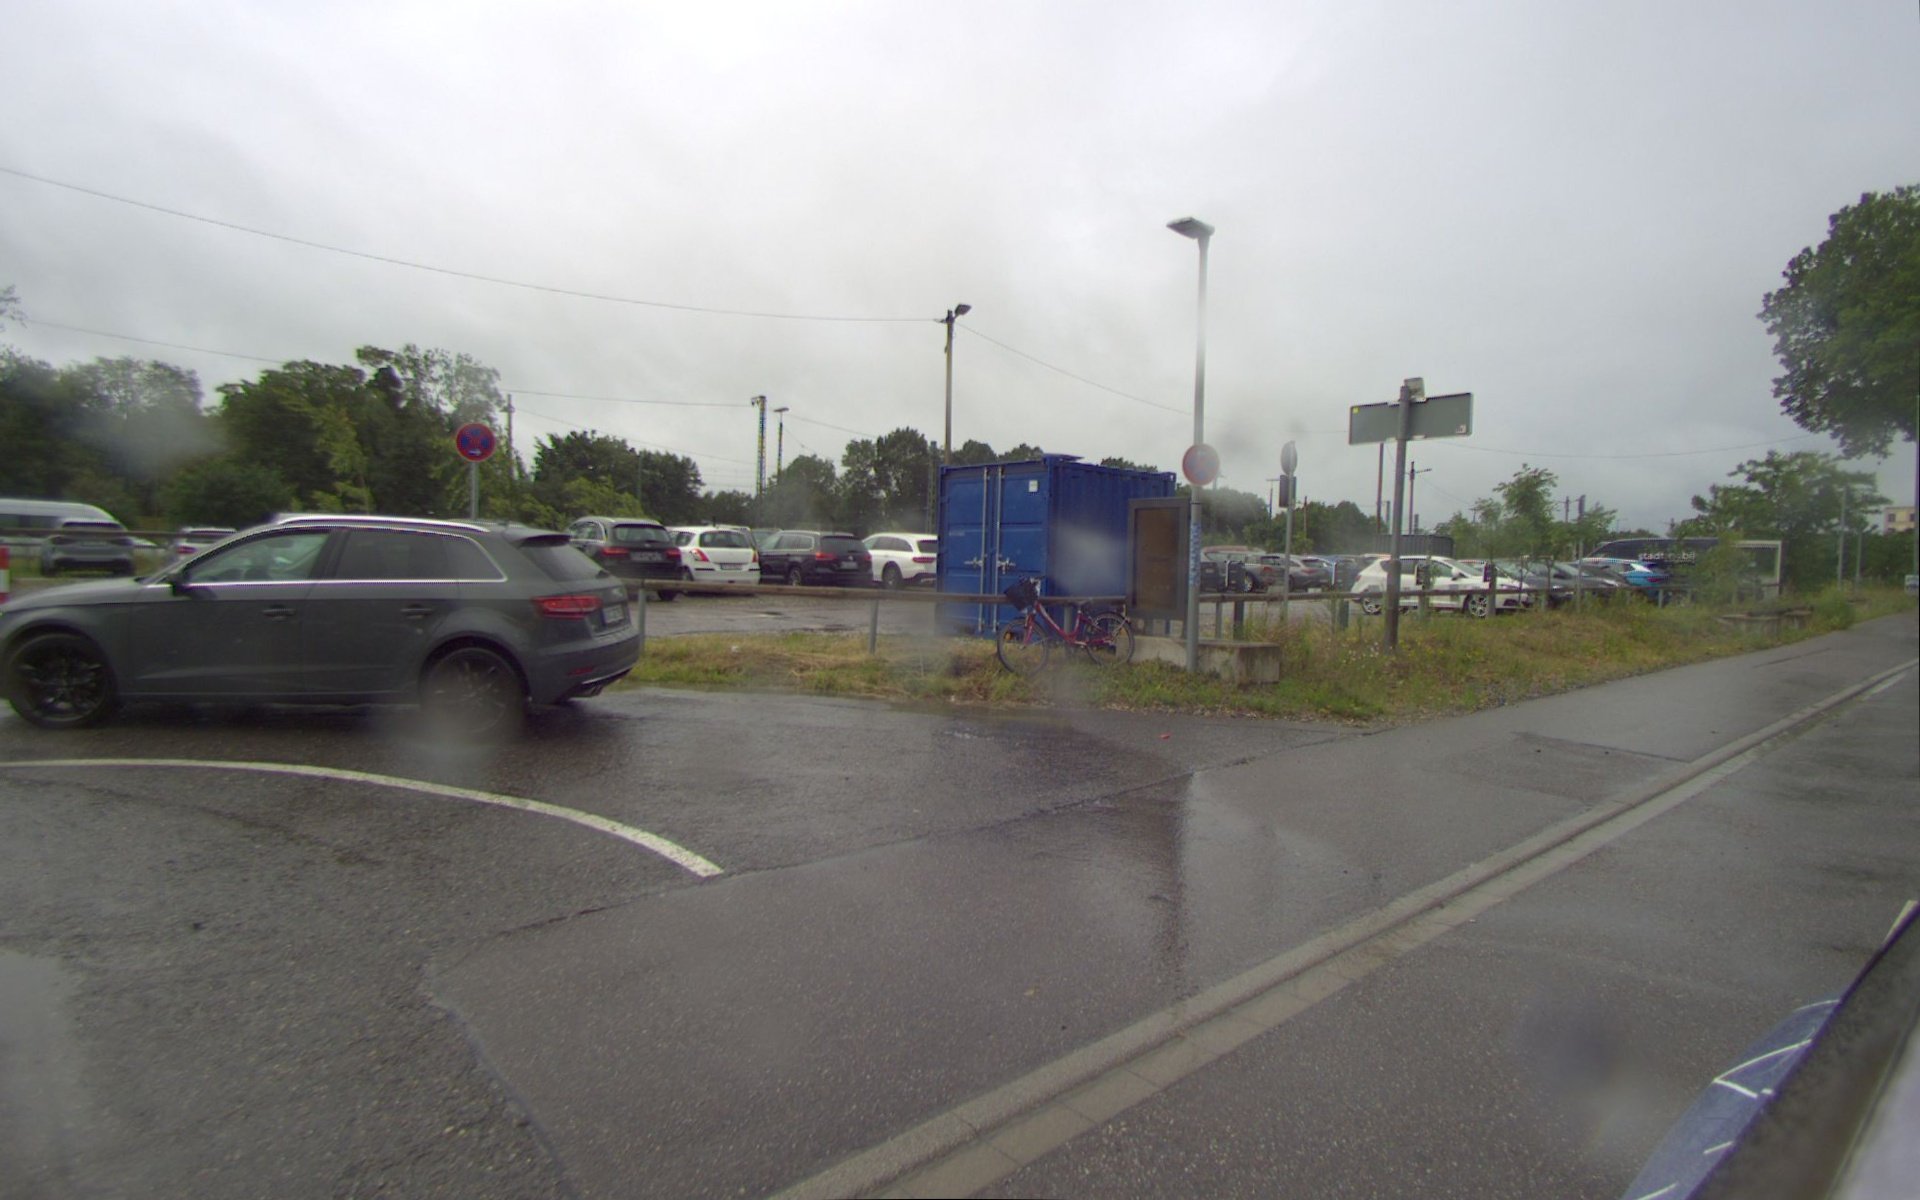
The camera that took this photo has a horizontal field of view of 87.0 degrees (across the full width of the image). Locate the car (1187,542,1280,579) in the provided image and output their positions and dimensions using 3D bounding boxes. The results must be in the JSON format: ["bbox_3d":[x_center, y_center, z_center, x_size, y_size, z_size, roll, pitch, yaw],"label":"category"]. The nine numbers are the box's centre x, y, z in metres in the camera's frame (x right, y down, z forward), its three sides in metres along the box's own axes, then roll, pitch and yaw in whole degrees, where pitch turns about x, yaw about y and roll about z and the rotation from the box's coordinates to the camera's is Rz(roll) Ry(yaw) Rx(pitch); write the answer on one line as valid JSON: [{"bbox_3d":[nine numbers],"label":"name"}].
[{"bbox_3d":[13.039,-1.917,48.366,1.733,1.660,3.998,-1,3,-39],"label":"car"}]

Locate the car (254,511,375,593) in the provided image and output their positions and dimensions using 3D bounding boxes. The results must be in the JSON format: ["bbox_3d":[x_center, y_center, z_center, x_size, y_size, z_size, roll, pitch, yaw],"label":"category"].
[{"bbox_3d":[-11.436,-0.896,17.831,1.617,1.235,3.903,-1,5,-35],"label":"car"}]

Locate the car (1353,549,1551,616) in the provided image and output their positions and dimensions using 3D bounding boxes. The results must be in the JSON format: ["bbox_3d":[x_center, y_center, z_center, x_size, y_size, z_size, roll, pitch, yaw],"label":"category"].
[{"bbox_3d":[11.495,-0.472,23.801,1.874,1.410,3.776,-2,4,-43],"label":"car"}]

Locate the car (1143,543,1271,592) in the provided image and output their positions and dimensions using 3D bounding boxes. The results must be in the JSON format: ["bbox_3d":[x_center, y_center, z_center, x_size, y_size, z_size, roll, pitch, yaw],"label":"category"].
[{"bbox_3d":[8.524,-1.166,35.184,1.853,1.444,3.965,-2,6,-38],"label":"car"}]

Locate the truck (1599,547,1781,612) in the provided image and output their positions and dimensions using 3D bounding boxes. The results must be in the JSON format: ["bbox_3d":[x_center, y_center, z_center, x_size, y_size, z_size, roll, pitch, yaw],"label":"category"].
[{"bbox_3d":[28.064,-0.855,39.101,2.038,2.351,5.341,-1,3,-40],"label":"truck"}]

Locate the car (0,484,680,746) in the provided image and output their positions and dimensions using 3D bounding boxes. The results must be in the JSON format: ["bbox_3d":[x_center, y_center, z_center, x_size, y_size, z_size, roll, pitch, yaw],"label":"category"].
[{"bbox_3d":[-4.363,0.041,7.402,4.143,1.473,1.904,3,4,-5],"label":"car"}]

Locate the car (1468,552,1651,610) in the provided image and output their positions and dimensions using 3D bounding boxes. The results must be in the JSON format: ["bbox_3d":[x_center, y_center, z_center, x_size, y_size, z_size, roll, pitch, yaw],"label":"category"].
[{"bbox_3d":[16.097,-0.572,27.302,1.750,1.440,3.901,-2,3,-42],"label":"car"}]

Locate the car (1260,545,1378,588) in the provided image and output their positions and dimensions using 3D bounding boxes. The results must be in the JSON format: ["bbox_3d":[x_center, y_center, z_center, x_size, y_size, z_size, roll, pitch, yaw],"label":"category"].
[{"bbox_3d":[14.485,-1.392,40.984,1.891,1.507,4.078,-2,6,-38],"label":"car"}]

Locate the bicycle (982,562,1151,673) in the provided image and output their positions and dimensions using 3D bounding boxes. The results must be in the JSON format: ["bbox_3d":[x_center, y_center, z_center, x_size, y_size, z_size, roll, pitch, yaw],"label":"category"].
[{"bbox_3d":[1.118,0.180,10.615,1.667,1.097,0.510,1,3,-20],"label":"bicycle"}]

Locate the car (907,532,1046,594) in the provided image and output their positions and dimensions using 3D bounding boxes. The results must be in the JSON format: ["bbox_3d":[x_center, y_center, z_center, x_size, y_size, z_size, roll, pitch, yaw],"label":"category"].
[{"bbox_3d":[0.389,-1.082,28.204,1.746,1.507,3.965,-2,5,-38],"label":"car"}]

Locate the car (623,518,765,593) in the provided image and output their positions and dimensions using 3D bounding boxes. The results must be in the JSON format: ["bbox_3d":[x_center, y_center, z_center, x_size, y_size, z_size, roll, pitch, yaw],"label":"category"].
[{"bbox_3d":[-6.226,-1.083,23.394,1.746,1.507,3.965,-2,5,-38],"label":"car"}]

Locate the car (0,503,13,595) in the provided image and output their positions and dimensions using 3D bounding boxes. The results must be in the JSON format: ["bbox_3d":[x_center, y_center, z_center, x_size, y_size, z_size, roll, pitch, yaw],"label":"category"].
[{"bbox_3d":[-14.967,-0.768,14.434,1.944,1.235,4.598,-2,6,-41],"label":"car"}]

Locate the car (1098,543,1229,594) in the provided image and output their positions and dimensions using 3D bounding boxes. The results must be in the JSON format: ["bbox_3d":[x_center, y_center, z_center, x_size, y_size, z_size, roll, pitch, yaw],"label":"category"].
[{"bbox_3d":[6.667,-1.093,33.433,1.853,1.444,3.965,-2,6,-38],"label":"car"}]

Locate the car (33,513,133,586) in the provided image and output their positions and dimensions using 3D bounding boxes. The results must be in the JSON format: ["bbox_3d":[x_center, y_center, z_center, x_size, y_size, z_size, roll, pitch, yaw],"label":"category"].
[{"bbox_3d":[-24.389,-1.428,28.100,1.967,1.852,3.993,-1,4,-43],"label":"car"}]

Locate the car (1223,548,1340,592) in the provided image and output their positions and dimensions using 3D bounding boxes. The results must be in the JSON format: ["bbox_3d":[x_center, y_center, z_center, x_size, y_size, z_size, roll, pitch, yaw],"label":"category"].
[{"bbox_3d":[12.342,-1.184,39.069,1.788,1.444,3.965,-2,6,-38],"label":"car"}]

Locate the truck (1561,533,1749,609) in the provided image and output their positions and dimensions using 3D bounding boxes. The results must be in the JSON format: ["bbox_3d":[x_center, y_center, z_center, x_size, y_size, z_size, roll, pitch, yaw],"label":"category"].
[{"bbox_3d":[24.176,-1.058,35.356,2.075,2.432,5.040,-1,3,-43],"label":"truck"}]

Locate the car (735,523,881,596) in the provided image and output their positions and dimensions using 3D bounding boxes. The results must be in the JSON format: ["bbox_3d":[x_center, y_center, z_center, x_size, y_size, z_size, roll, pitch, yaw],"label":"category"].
[{"bbox_3d":[-3.728,-1.030,24.298,1.746,1.507,3.965,-2,5,-38],"label":"car"}]

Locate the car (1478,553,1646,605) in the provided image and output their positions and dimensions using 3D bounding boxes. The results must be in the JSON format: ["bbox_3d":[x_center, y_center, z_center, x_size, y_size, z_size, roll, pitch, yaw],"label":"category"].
[{"bbox_3d":[17.574,-0.659,29.677,1.750,1.411,3.901,-2,3,-42],"label":"car"}]

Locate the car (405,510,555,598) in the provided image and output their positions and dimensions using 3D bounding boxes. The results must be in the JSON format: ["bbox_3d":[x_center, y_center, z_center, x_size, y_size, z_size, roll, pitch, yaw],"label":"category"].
[{"bbox_3d":[-9.491,-0.969,19.872,1.836,1.507,3.965,-2,6,-38],"label":"car"}]

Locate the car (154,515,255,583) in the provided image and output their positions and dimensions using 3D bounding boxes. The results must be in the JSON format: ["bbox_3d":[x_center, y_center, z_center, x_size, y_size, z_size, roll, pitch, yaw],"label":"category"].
[{"bbox_3d":[-22.316,-1.534,29.841,1.967,1.852,3.993,-1,4,-43],"label":"car"}]

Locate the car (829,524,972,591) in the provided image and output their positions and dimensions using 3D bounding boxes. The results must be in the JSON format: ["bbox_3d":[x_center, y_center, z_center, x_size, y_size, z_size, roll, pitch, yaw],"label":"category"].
[{"bbox_3d":[-1.625,-1.162,26.320,1.746,1.507,3.965,-2,5,-38],"label":"car"}]

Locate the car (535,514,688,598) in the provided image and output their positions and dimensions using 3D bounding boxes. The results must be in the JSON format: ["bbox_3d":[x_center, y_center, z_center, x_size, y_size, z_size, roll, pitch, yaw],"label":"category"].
[{"bbox_3d":[-7.368,-0.981,21.142,1.836,1.507,3.965,-2,6,-38],"label":"car"}]

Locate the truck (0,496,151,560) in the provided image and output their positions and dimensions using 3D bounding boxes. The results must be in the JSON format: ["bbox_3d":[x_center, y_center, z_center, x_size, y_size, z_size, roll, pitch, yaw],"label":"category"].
[{"bbox_3d":[-31.680,-2.519,35.440,5.185,2.038,2.087,0,3,-40],"label":"truck"}]

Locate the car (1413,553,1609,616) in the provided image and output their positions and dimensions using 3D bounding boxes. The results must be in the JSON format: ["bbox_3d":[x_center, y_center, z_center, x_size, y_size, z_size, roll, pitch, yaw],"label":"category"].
[{"bbox_3d":[13.669,-0.449,25.249,1.874,1.440,3.901,-2,4,-43],"label":"car"}]

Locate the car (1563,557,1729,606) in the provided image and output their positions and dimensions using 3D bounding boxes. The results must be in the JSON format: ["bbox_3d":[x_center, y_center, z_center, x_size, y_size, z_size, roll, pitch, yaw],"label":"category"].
[{"bbox_3d":[22.189,-0.659,32.859,1.832,1.437,4.165,-2,4,-43],"label":"car"}]

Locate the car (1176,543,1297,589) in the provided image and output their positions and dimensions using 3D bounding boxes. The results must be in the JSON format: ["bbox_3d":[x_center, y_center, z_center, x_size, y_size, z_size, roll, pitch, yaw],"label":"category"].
[{"bbox_3d":[10.115,-1.287,37.228,1.853,1.444,3.965,-2,6,-38],"label":"car"}]

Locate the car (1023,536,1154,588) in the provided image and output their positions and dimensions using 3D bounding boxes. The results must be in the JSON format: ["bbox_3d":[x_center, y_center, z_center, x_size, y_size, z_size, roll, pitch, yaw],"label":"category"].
[{"bbox_3d":[4.010,-1.248,32.118,1.853,1.444,3.965,-2,6,-38],"label":"car"}]

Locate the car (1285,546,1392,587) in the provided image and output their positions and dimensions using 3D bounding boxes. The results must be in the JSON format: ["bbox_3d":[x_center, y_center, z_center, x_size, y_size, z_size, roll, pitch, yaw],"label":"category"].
[{"bbox_3d":[16.122,-1.474,43.266,1.677,1.497,3.965,-2,5,-38],"label":"car"}]

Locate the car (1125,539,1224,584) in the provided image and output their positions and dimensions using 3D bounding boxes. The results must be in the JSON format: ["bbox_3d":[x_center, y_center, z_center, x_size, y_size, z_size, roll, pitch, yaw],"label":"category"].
[{"bbox_3d":[9.236,-1.704,43.799,1.763,1.822,4.001,-1,3,-36],"label":"car"}]

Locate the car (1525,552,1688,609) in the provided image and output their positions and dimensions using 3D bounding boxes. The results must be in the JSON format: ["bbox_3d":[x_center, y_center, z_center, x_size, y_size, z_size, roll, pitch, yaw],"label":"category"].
[{"bbox_3d":[20.025,-0.656,31.457,1.865,1.614,3.901,-2,3,-43],"label":"car"}]

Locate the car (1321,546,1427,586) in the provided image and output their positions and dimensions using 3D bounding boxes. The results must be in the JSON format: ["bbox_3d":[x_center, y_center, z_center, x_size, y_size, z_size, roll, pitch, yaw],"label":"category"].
[{"bbox_3d":[18.418,-1.534,45.109,1.774,1.555,3.965,-2,5,-38],"label":"car"}]
